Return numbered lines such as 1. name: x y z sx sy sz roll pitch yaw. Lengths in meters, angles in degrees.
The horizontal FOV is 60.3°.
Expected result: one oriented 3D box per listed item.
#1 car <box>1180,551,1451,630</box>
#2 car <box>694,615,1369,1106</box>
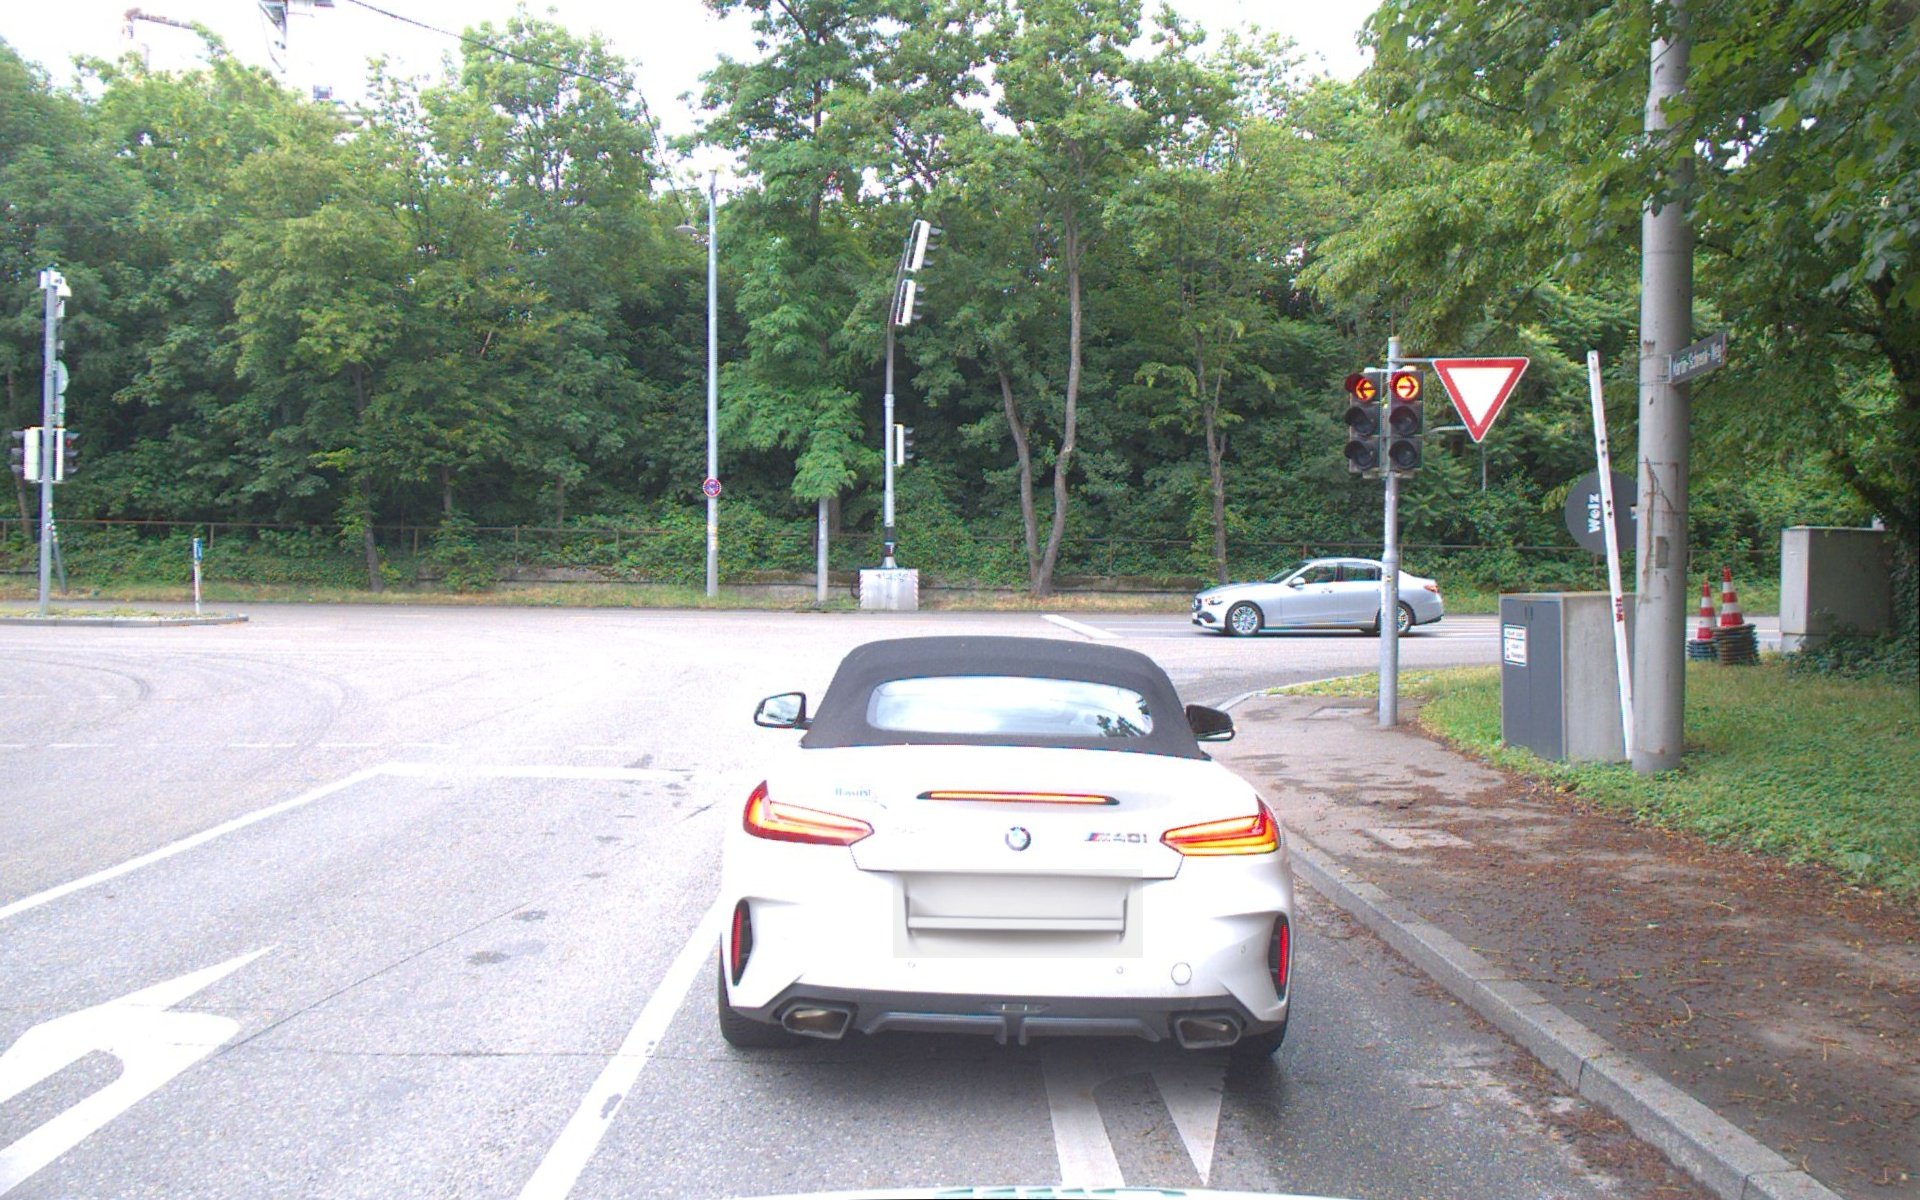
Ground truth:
1. car: 6.638 -0.200 31.147 4.657 1.356 1.833 1 3 -4
2. car: 0.109 0.748 6.451 1.791 1.279 3.997 2 -1 -3
